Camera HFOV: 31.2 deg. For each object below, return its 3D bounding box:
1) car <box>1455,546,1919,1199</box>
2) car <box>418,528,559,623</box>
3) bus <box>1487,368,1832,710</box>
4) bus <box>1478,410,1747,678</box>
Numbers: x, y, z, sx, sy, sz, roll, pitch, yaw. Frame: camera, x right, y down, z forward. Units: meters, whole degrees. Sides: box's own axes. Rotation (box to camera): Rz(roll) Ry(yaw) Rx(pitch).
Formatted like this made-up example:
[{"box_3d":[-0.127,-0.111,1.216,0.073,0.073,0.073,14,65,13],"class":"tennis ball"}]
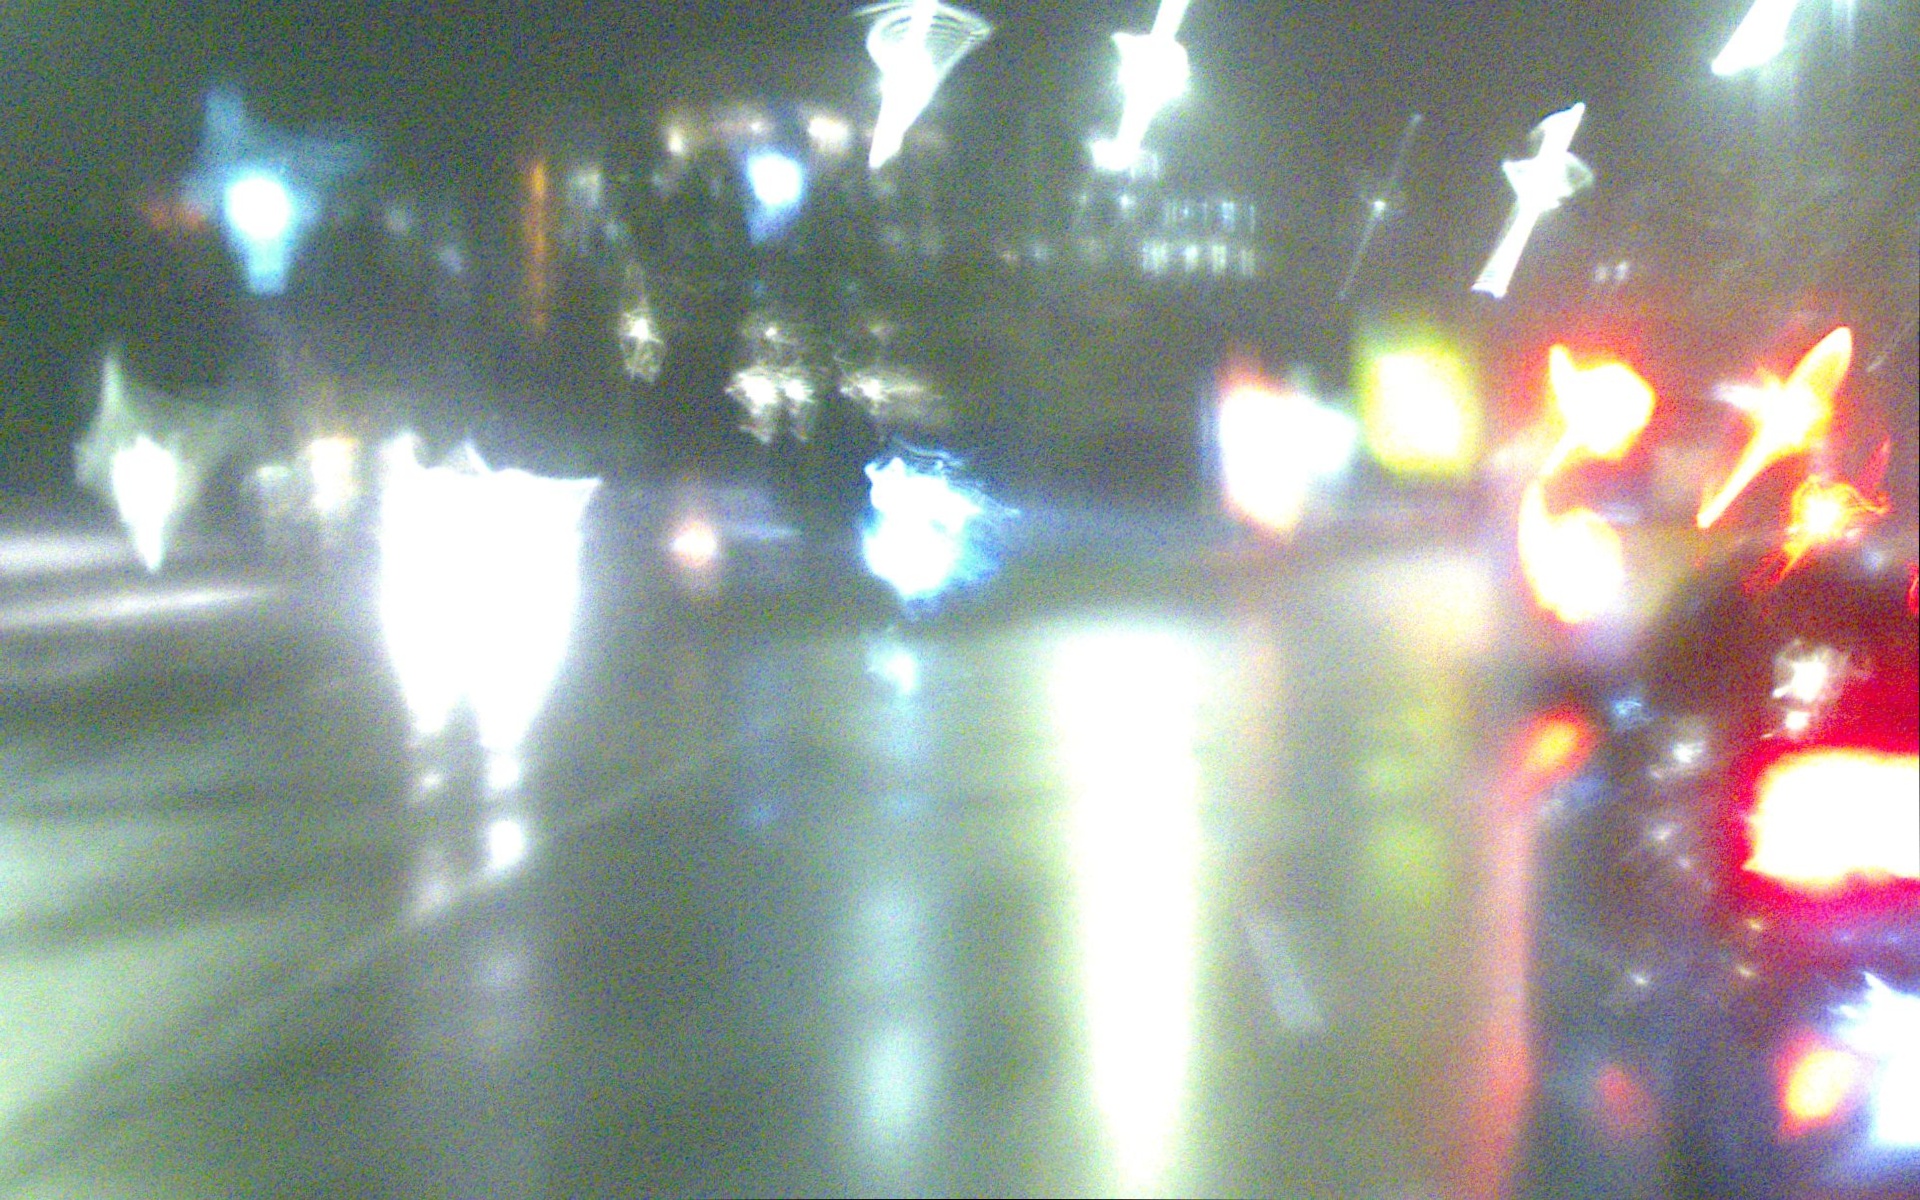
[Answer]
[{"box_3d":[2.377,0.658,8.208,1.994,1.519,4.000,2,1,3],"class":"car"},{"box_3d":[-7.798,-0.423,57.178,1.765,1.452,3.953,3,1,0],"class":"car"},{"box_3d":[7.410,-0.656,37.590,3.044,3.201,9.047,2,1,8],"class":"bus"},{"box_3d":[8.661,-0.751,46.591,3.044,3.201,9.047,2,1,8],"class":"bus"}]
